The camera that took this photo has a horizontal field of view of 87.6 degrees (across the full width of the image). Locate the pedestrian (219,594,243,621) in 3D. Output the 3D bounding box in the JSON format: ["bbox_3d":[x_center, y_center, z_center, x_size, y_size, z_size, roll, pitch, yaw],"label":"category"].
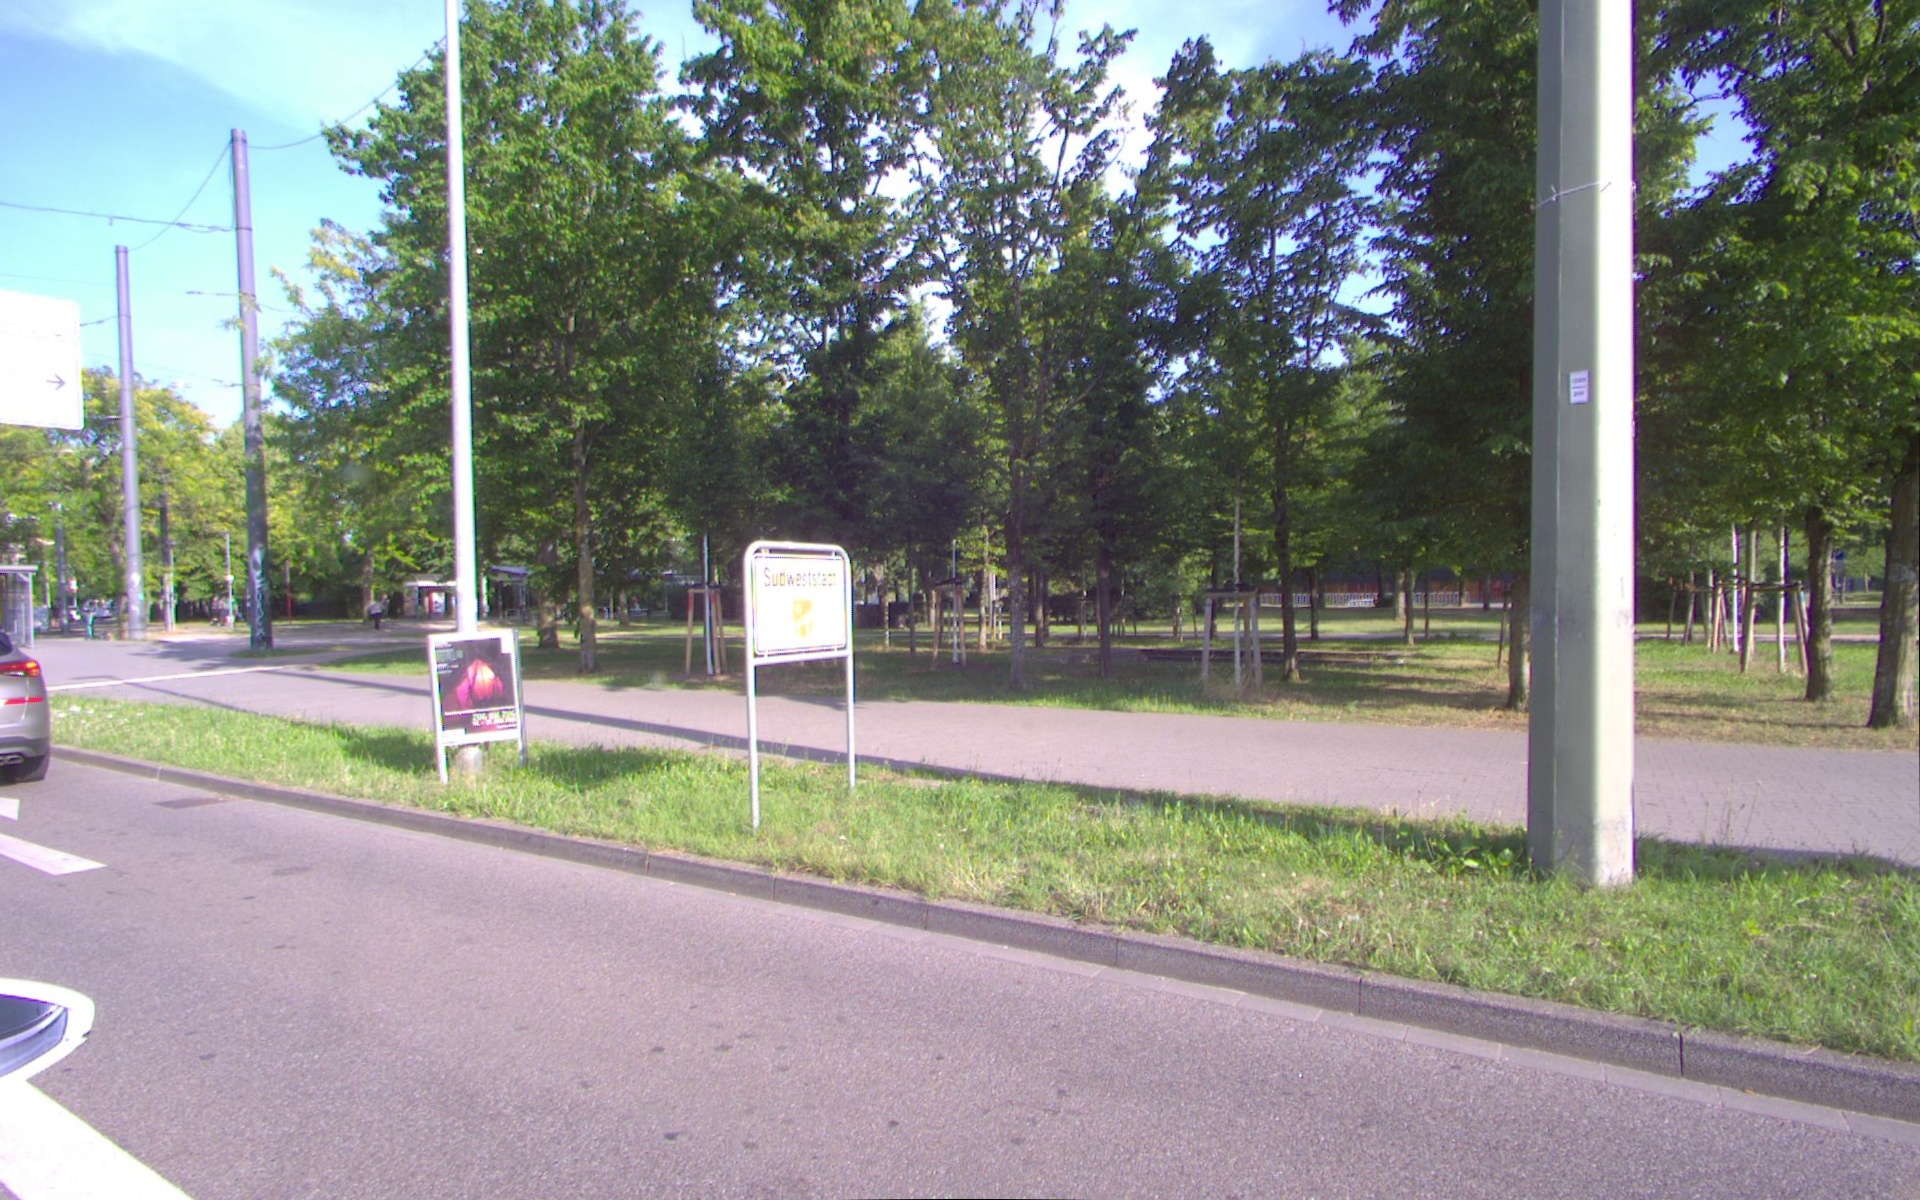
[{"bbox_3d":[-41.101,0.428,56.453,0.688,1.508,0.813,0,1,22],"label":"pedestrian"}]

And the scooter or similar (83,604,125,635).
[{"bbox_3d":[-31.395,0.723,36.727,1.305,1.132,0.420,-1,1,13],"label":"scooter or similar"}]

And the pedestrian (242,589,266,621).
[{"bbox_3d":[-40.258,0.305,57.139,0.826,1.809,0.798,0,1,28],"label":"pedestrian"}]

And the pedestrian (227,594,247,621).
[{"bbox_3d":[-39.997,0.418,55.408,0.804,1.508,0.696,-2,1,-33],"label":"pedestrian"}]

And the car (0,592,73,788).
[{"bbox_3d":[-9.980,0.801,9.133,3.595,1.673,1.880,-1,1,32],"label":"car"}]

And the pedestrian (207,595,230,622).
[{"bbox_3d":[-41.037,0.472,55.426,0.687,1.508,0.815,-1,1,-9],"label":"pedestrian"}]

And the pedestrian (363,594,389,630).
[{"bbox_3d":[-27.723,0.559,47.548,0.793,1.659,0.754,-1,1,-7],"label":"pedestrian"}]

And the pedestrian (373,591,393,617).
[{"bbox_3d":[-36.902,0.262,64.063,0.792,1.659,0.832,0,1,38],"label":"pedestrian"}]

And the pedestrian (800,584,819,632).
[{"bbox_3d":[-5.825,0.309,38.765,0.617,1.836,0.502,-1,1,6],"label":"pedestrian"}]

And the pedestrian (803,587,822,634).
[{"bbox_3d":[-5.832,0.410,39.516,0.617,1.836,0.502,-1,1,3],"label":"pedestrian"}]
